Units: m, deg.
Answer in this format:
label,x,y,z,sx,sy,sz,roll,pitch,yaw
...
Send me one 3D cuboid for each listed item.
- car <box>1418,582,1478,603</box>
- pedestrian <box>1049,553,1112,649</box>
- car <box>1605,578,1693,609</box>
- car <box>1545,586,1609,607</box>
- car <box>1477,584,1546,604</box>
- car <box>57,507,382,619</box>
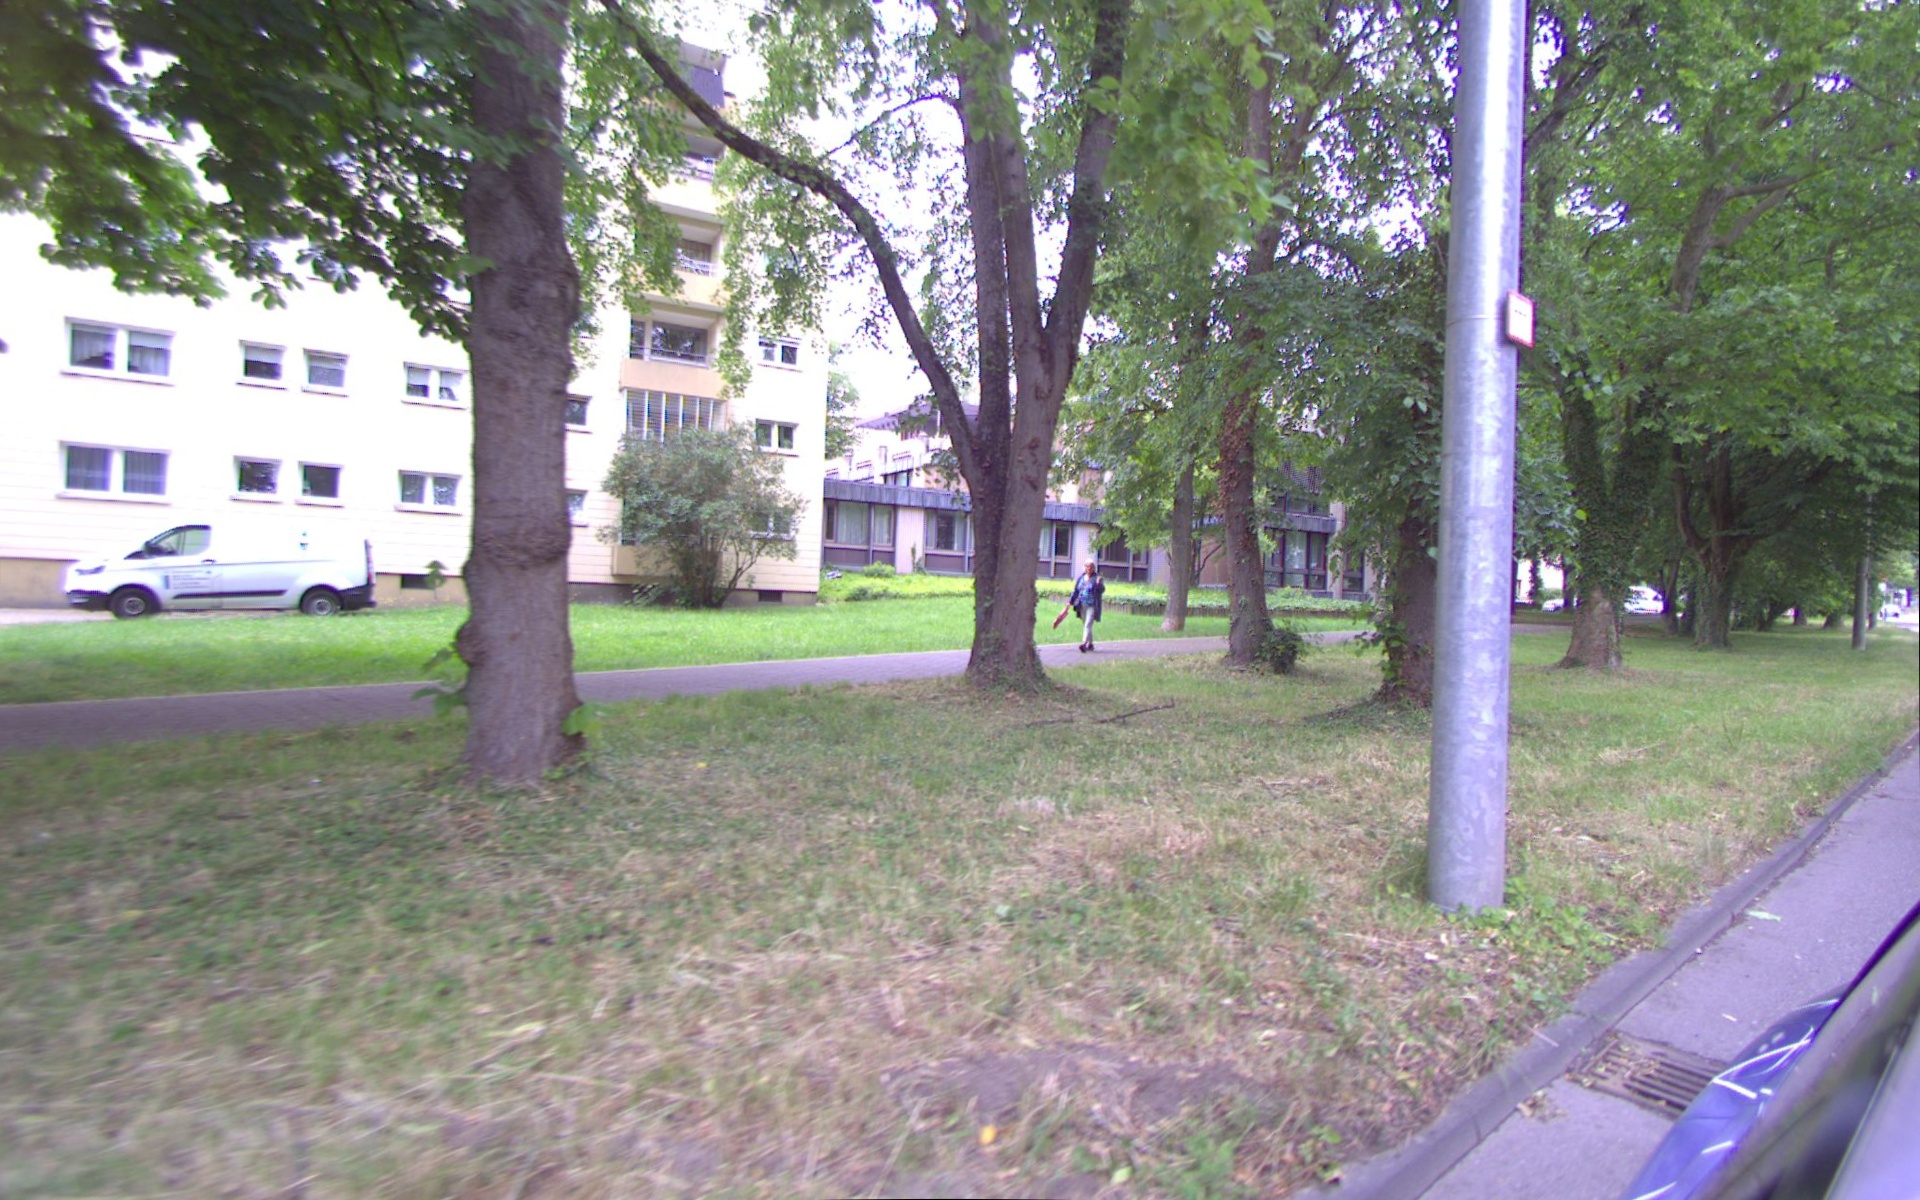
label,x,y,z,sx,sy,sz,roll,pitch,yaw
car,38.920,-0.591,80.784,3.920,1.529,1.802,2,0,-5
pedestrian,2.234,0.003,18.764,0.768,1.707,0.801,3,2,44
car,54.752,-0.525,80.539,5.241,2.328,2.286,2,0,10
car,49.338,-0.309,80.974,3.928,1.529,1.798,2,0,4
car,44.097,-0.482,81.042,4.514,1.529,1.801,2,0,-2
car,-14.339,-0.664,19.923,4.874,1.866,2.093,2,1,-37
